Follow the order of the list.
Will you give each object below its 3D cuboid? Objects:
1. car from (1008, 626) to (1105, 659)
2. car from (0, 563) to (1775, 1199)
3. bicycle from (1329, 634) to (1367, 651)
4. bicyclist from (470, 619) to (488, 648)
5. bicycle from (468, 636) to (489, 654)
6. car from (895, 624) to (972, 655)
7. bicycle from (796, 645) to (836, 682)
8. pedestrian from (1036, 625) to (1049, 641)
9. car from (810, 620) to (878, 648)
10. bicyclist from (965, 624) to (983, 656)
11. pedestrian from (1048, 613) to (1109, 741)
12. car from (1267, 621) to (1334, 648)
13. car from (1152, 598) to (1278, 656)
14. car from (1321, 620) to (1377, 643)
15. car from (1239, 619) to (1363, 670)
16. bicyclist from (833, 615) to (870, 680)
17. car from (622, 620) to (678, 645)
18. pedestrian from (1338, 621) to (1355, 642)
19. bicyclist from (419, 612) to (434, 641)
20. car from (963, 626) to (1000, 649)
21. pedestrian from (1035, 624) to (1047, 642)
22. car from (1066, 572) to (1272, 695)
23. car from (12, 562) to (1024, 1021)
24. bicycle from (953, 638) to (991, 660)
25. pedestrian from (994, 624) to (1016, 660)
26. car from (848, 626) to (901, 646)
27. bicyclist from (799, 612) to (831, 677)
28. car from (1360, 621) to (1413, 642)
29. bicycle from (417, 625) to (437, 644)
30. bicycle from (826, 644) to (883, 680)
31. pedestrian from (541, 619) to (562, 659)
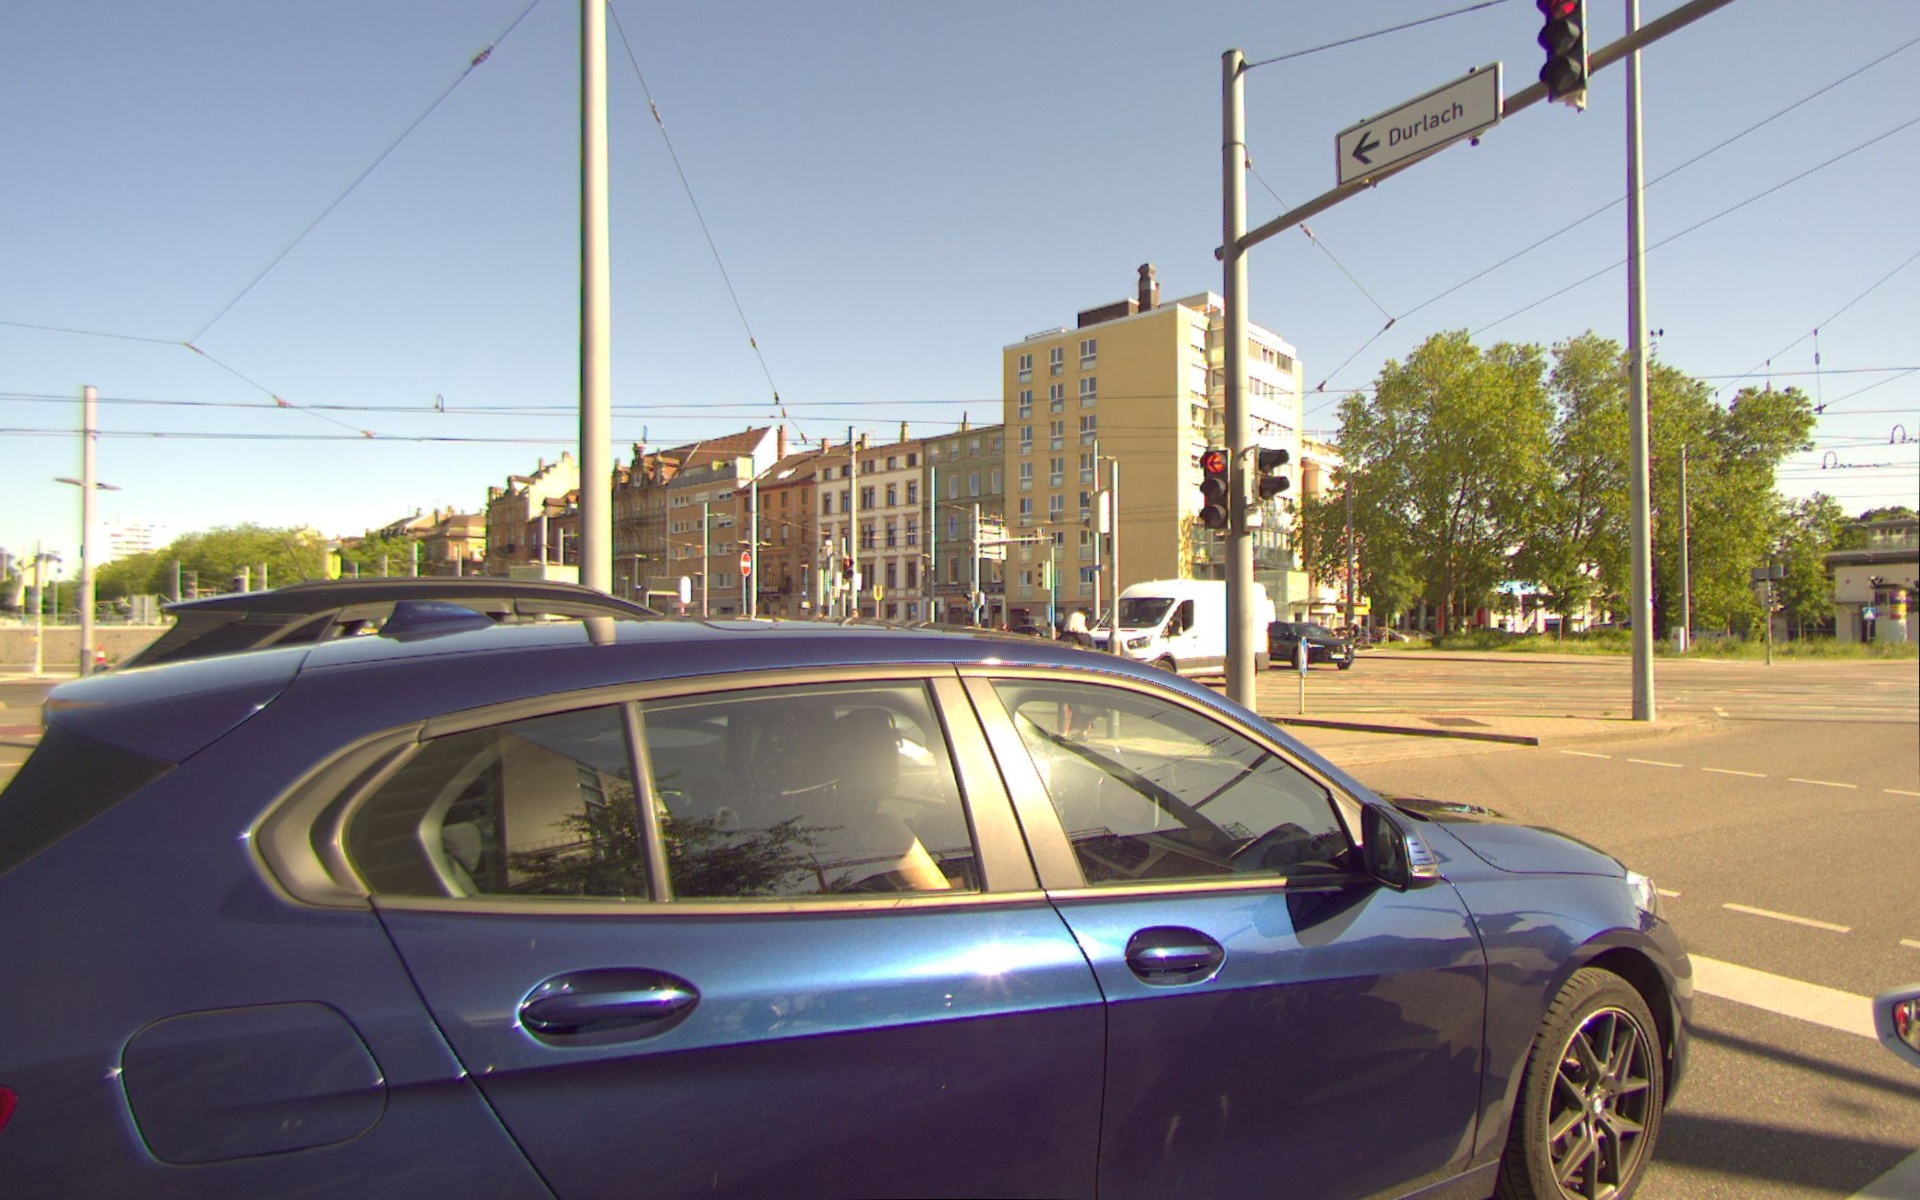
[{"bbox_3d":[4.526,1.979,47.631,1.852,1.521,4.510,1,-2,-43],"label":"car"},{"bbox_3d":[0.102,0.728,2.521,3.984,1.464,1.703,1,0,-30],"label":"car"},{"bbox_3d":[22.073,2.412,57.161,1.983,0.925,0.559,-1,-2,42],"label":"bicycle"},{"bbox_3d":[-24.263,1.695,50.687,0.672,1.474,0.777,1,-1,-35],"label":"bicyclist"},{"bbox_3d":[-24.305,2.266,50.709,0.672,0.890,1.880,1,-2,-35],"label":"bicycle"},{"bbox_3d":[-1.509,2.191,56.395,4.246,1.675,1.848,-1,-2,42],"label":"car"},{"bbox_3d":[-3.761,1.645,26.157,0.668,0.890,1.890,0,-2,-20],"label":"bicycle"},{"bbox_3d":[5.773,2.325,70.292,0.739,1.142,0.422,-1,-2,41],"label":"pedestrian"},{"bbox_3d":[-7.188,2.065,62.070,4.244,1.675,1.849,-1,-2,40],"label":"car"},{"bbox_3d":[0.639,1.843,46.288,0.609,1.462,0.614,1,-1,-30],"label":"bicyclist"},{"bbox_3d":[1.493,0.951,12.578,0.746,1.575,0.358,0,-1,9],"label":"pedestrian"},{"bbox_3d":[21.556,2.171,63.617,3.691,1.684,1.586,-1,-2,42],"label":"car"},{"bbox_3d":[12.744,1.369,50.560,5.838,2.780,2.133,-1,-2,42],"label":"car"},{"bbox_3d":[29.845,2.415,77.126,3.691,1.684,1.586,-1,-2,42],"label":"car"},{"bbox_3d":[11.992,1.544,35.580,1.845,1.681,4.046,1,-2,-26],"label":"car"},{"bbox_3d":[-2.878,1.243,26.634,0.672,1.676,0.777,1,-1,-35],"label":"bicyclist"},{"bbox_3d":[-21.952,2.316,71.048,4.245,1.675,1.849,-2,-3,41],"label":"car"},{"bbox_3d":[22.008,1.783,57.229,0.785,1.220,0.557,-1,-2,42],"label":"pedestrian"},{"bbox_3d":[-32.184,1.610,60.555,0.673,1.735,0.610,1,-2,-42],"label":"bicyclist"},{"bbox_3d":[1.379,2.491,67.001,1.745,1.446,3.873,0,-2,-10],"label":"car"},{"bbox_3d":[5.547,2.280,69.020,0.738,1.220,0.422,-1,-2,40],"label":"pedestrian"},{"bbox_3d":[4.952,0.760,23.242,5.381,2.541,1.975,1,-2,-43],"label":"car"},{"bbox_3d":[-1.816,0.677,5.080,3.959,1.537,1.751,1,-1,-28],"label":"car"},{"bbox_3d":[0.551,2.250,46.222,1.666,0.958,0.614,1,-1,-30],"label":"bicycle"},{"bbox_3d":[2.040,1.881,45.257,0.669,1.593,0.740,1,-2,-45],"label":"pedestrian"},{"bbox_3d":[-6.301,2.651,74.434,1.749,1.446,3.863,-1,-2,39],"label":"car"},{"bbox_3d":[-3.791,1.158,26.207,0.668,1.676,0.781,0,-1,-20],"label":"bicyclist"},{"bbox_3d":[34.830,2.549,82.161,3.691,1.684,1.586,-1,-2,42],"label":"car"},{"bbox_3d":[-32.160,2.088,60.616,0.673,1.120,1.875,1,-2,-41],"label":"bicycle"},{"bbox_3d":[-2.812,1.625,26.533,0.672,0.890,1.880,1,-2,-35],"label":"bicycle"},{"bbox_3d":[-17.888,1.700,44.005,0.672,1.735,0.793,1,-1,-38],"label":"pedestrian"}]
